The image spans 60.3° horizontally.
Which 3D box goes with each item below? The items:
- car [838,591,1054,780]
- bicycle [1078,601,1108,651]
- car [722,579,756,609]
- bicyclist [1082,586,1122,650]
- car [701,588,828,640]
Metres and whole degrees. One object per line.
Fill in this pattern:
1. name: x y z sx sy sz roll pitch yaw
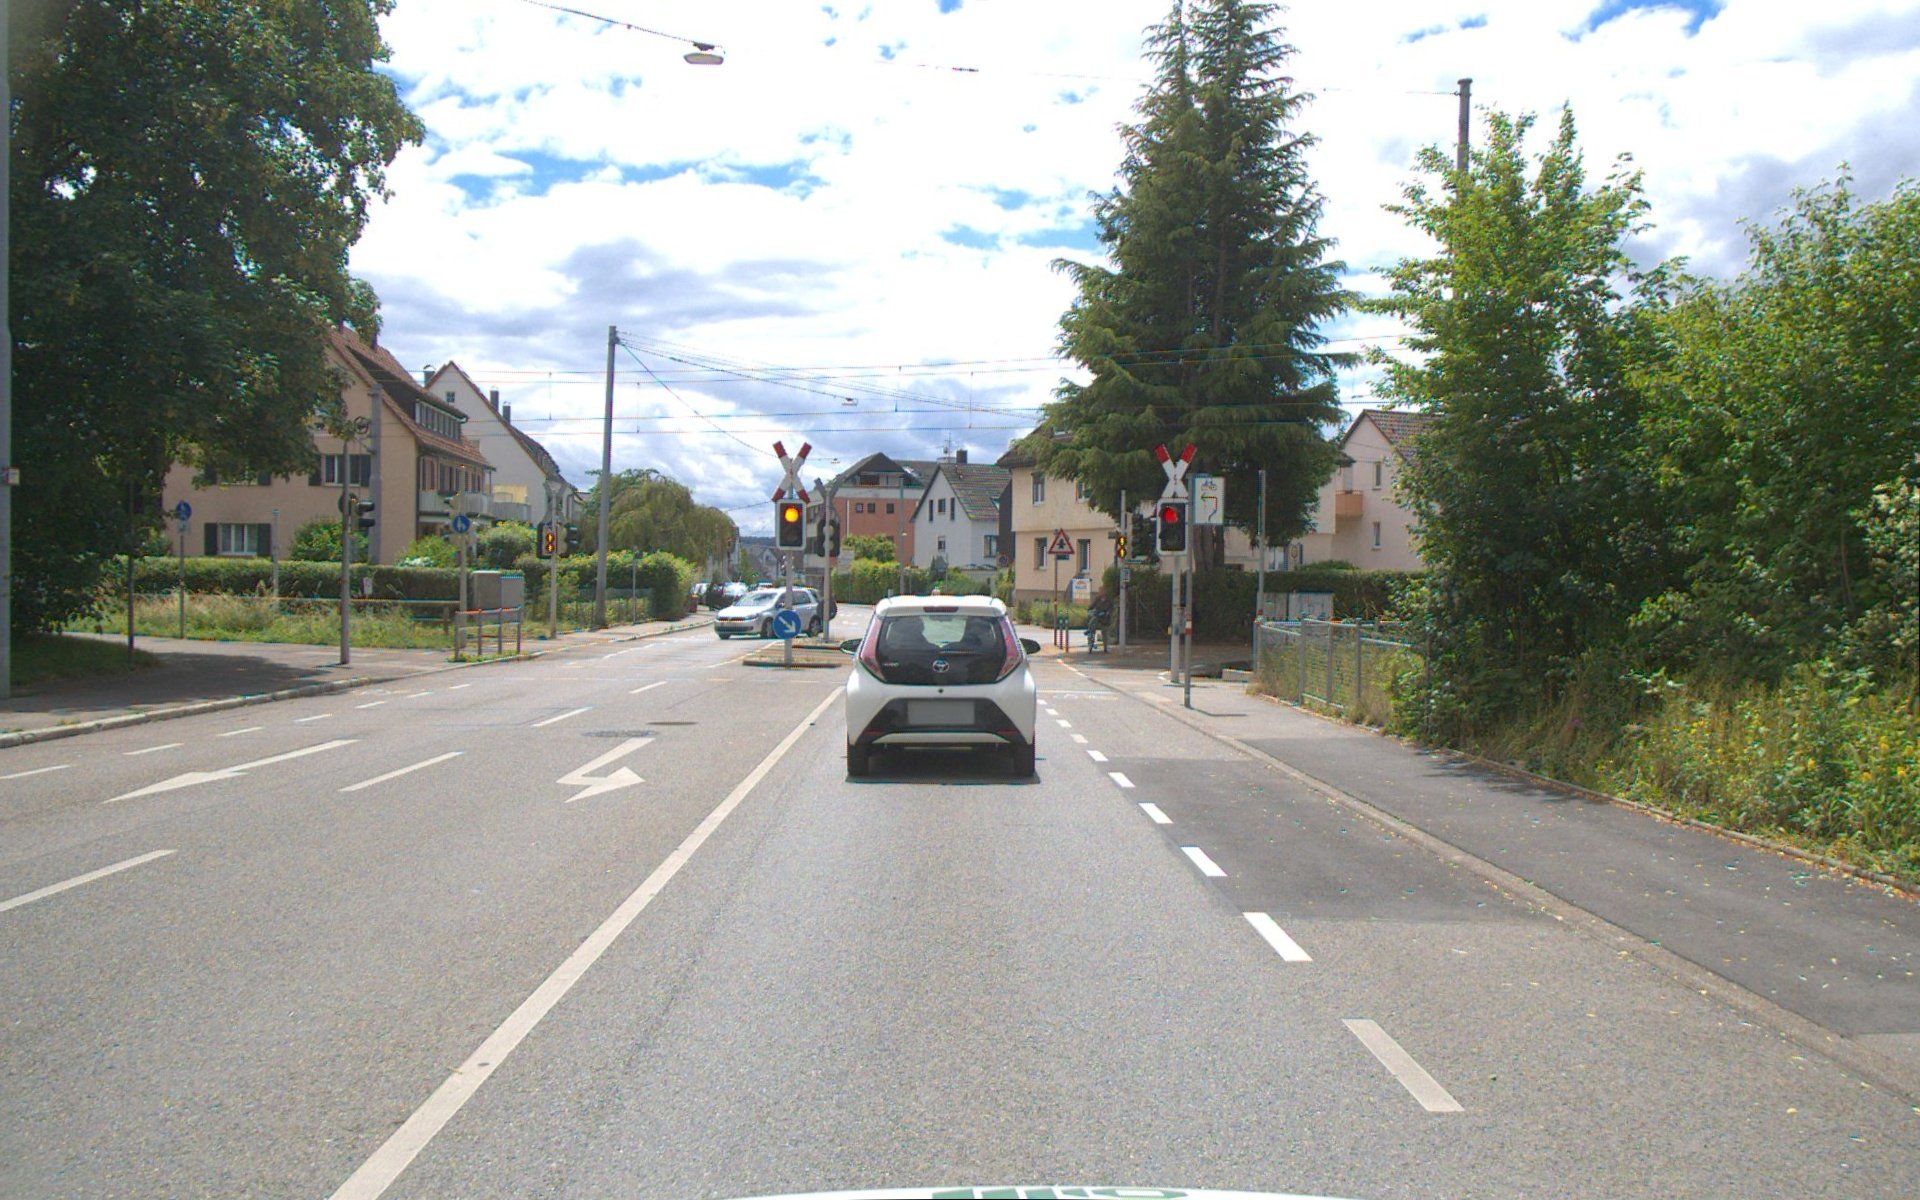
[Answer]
1. car: -0.241 0.677 15.015 1.687 1.467 3.705 2 0 -4
2. bicycle: 3.408 0.657 42.385 0.449 1.192 1.477 -2 3 -6
3. car: -13.489 -0.343 101.222 1.956 1.749 3.994 2 0 -7
4. bicyclist: 3.623 0.451 42.269 0.825 1.580 0.755 -2 3 -7
5. car: -5.892 0.427 50.391 1.868 1.466 4.094 2 0 27
